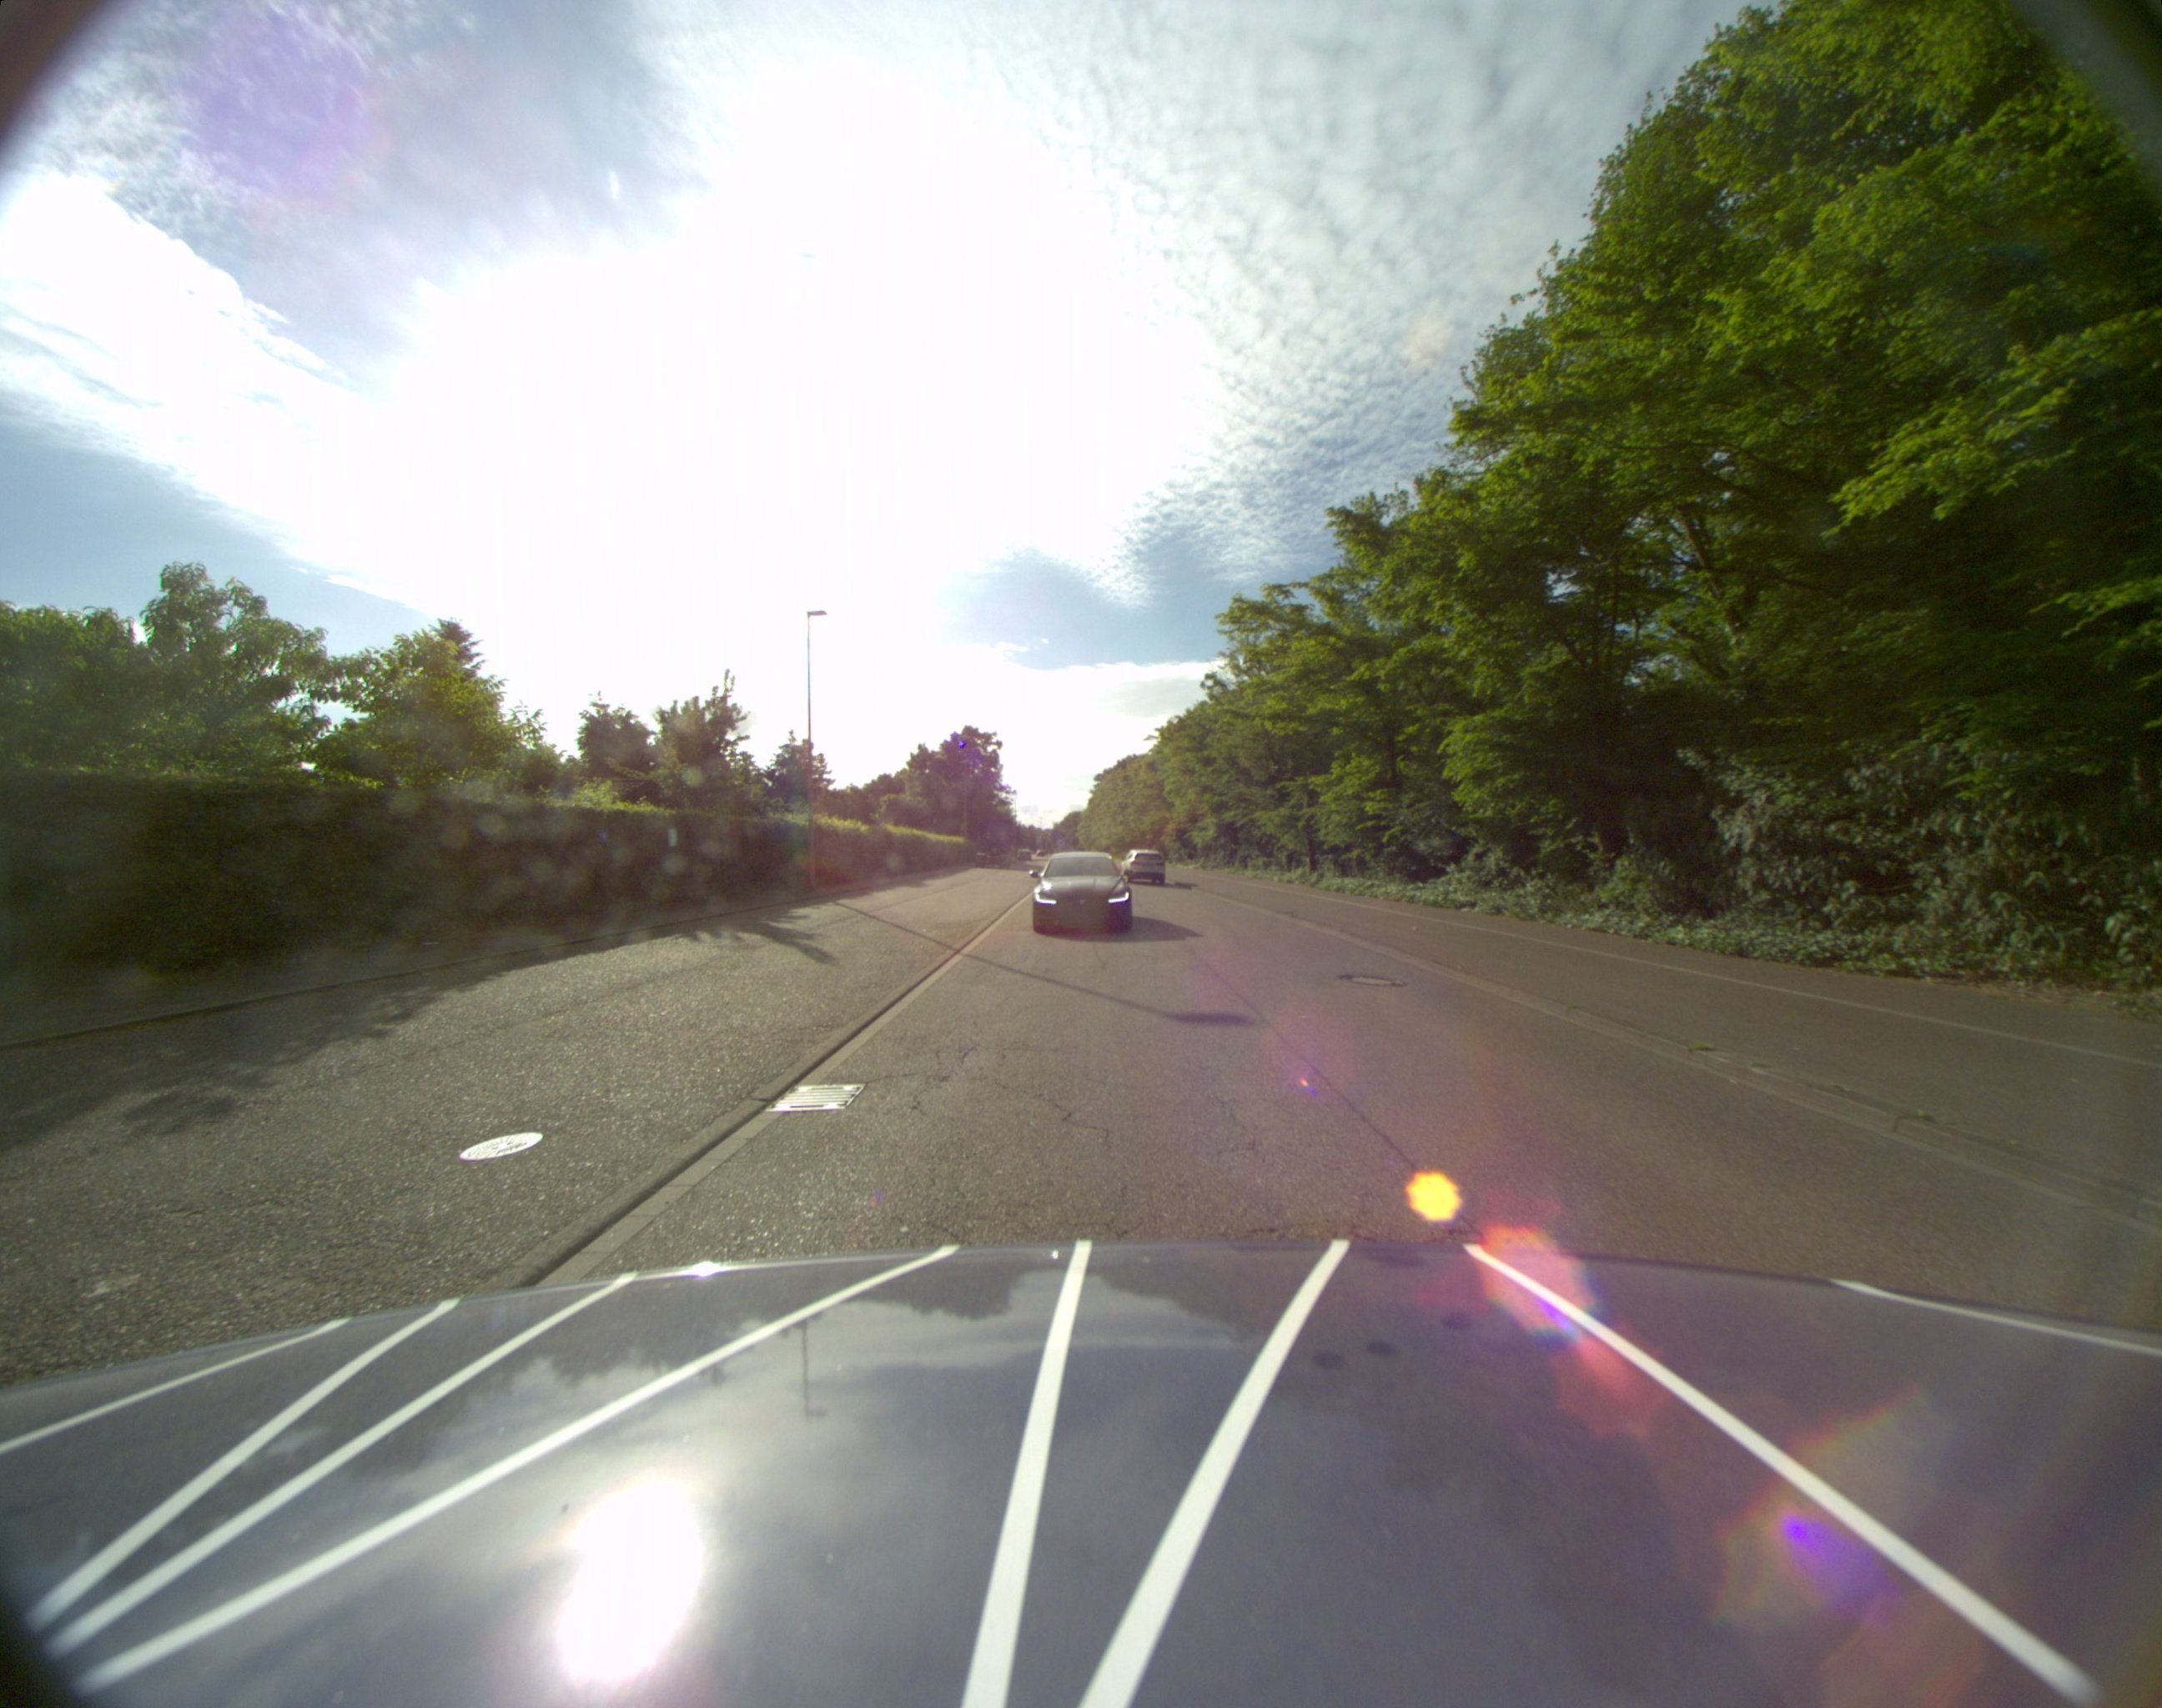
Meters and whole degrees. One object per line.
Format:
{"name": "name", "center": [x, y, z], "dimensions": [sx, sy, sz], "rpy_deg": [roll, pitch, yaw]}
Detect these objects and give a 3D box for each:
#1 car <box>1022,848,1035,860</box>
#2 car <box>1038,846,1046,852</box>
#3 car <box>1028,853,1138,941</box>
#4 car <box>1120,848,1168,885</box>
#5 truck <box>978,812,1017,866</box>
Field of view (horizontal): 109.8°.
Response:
{"name": "car", "center": [-7.336, -0.054, 106.598], "dimensions": [1.752, 1.561, 3.860], "rpy_deg": [2, 0, -4]}
{"name": "car", "center": [-9.046, -1.148, 177.539], "dimensions": [1.752, 1.380, 3.860], "rpy_deg": [2, 0, -4]}
{"name": "car", "center": [0.099, 0.765, 15.768], "dimensions": [1.936, 1.501, 4.680], "rpy_deg": [0, 1, 2]}
{"name": "car", "center": [3.013, 0.566, 37.132], "dimensions": [1.807, 1.576, 4.100], "rpy_deg": [1, 1, -2]}
{"name": "truck", "center": [-6.577, -1.135, 60.406], "dimensions": [2.603, 3.935, 6.280], "rpy_deg": [4, 0, -5]}
